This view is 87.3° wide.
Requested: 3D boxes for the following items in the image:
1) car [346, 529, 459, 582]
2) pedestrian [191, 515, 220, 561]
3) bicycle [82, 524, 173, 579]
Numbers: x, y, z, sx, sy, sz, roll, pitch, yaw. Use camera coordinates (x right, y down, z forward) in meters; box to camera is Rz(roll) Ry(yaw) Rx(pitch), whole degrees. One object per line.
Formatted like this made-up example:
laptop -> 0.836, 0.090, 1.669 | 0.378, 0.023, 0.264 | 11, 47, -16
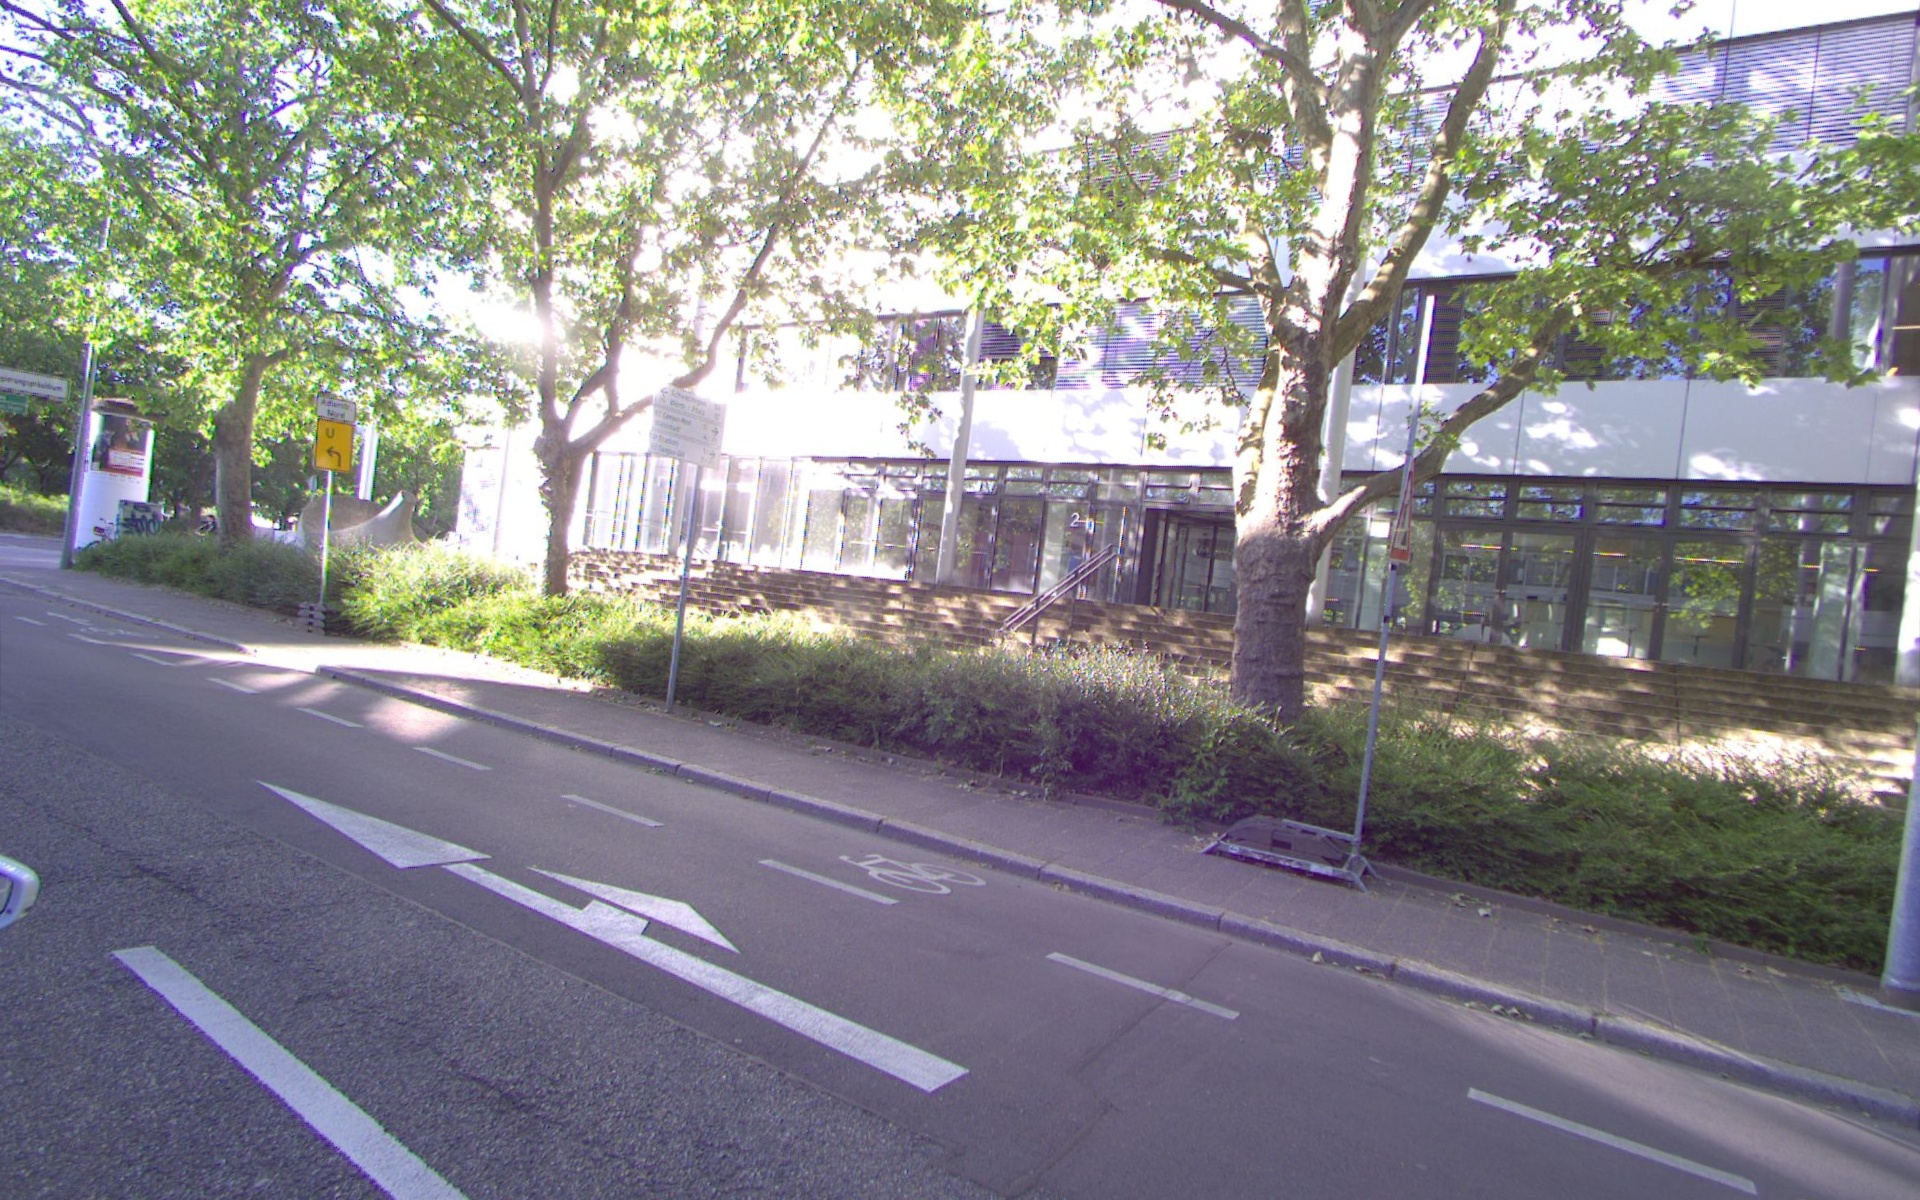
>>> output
car -> -25.886, -2.053, 46.812 | 1.969, 1.805, 3.998 | 7, -1, 37
pedestrian -> -31.433, -2.586, 41.902 | 0.620, 1.805, 0.620 | 7, 0, 34
bicycle -> -19.093, -1.090, 23.099 | 0.529, 1.049, 1.418 | 7, -1, 28
